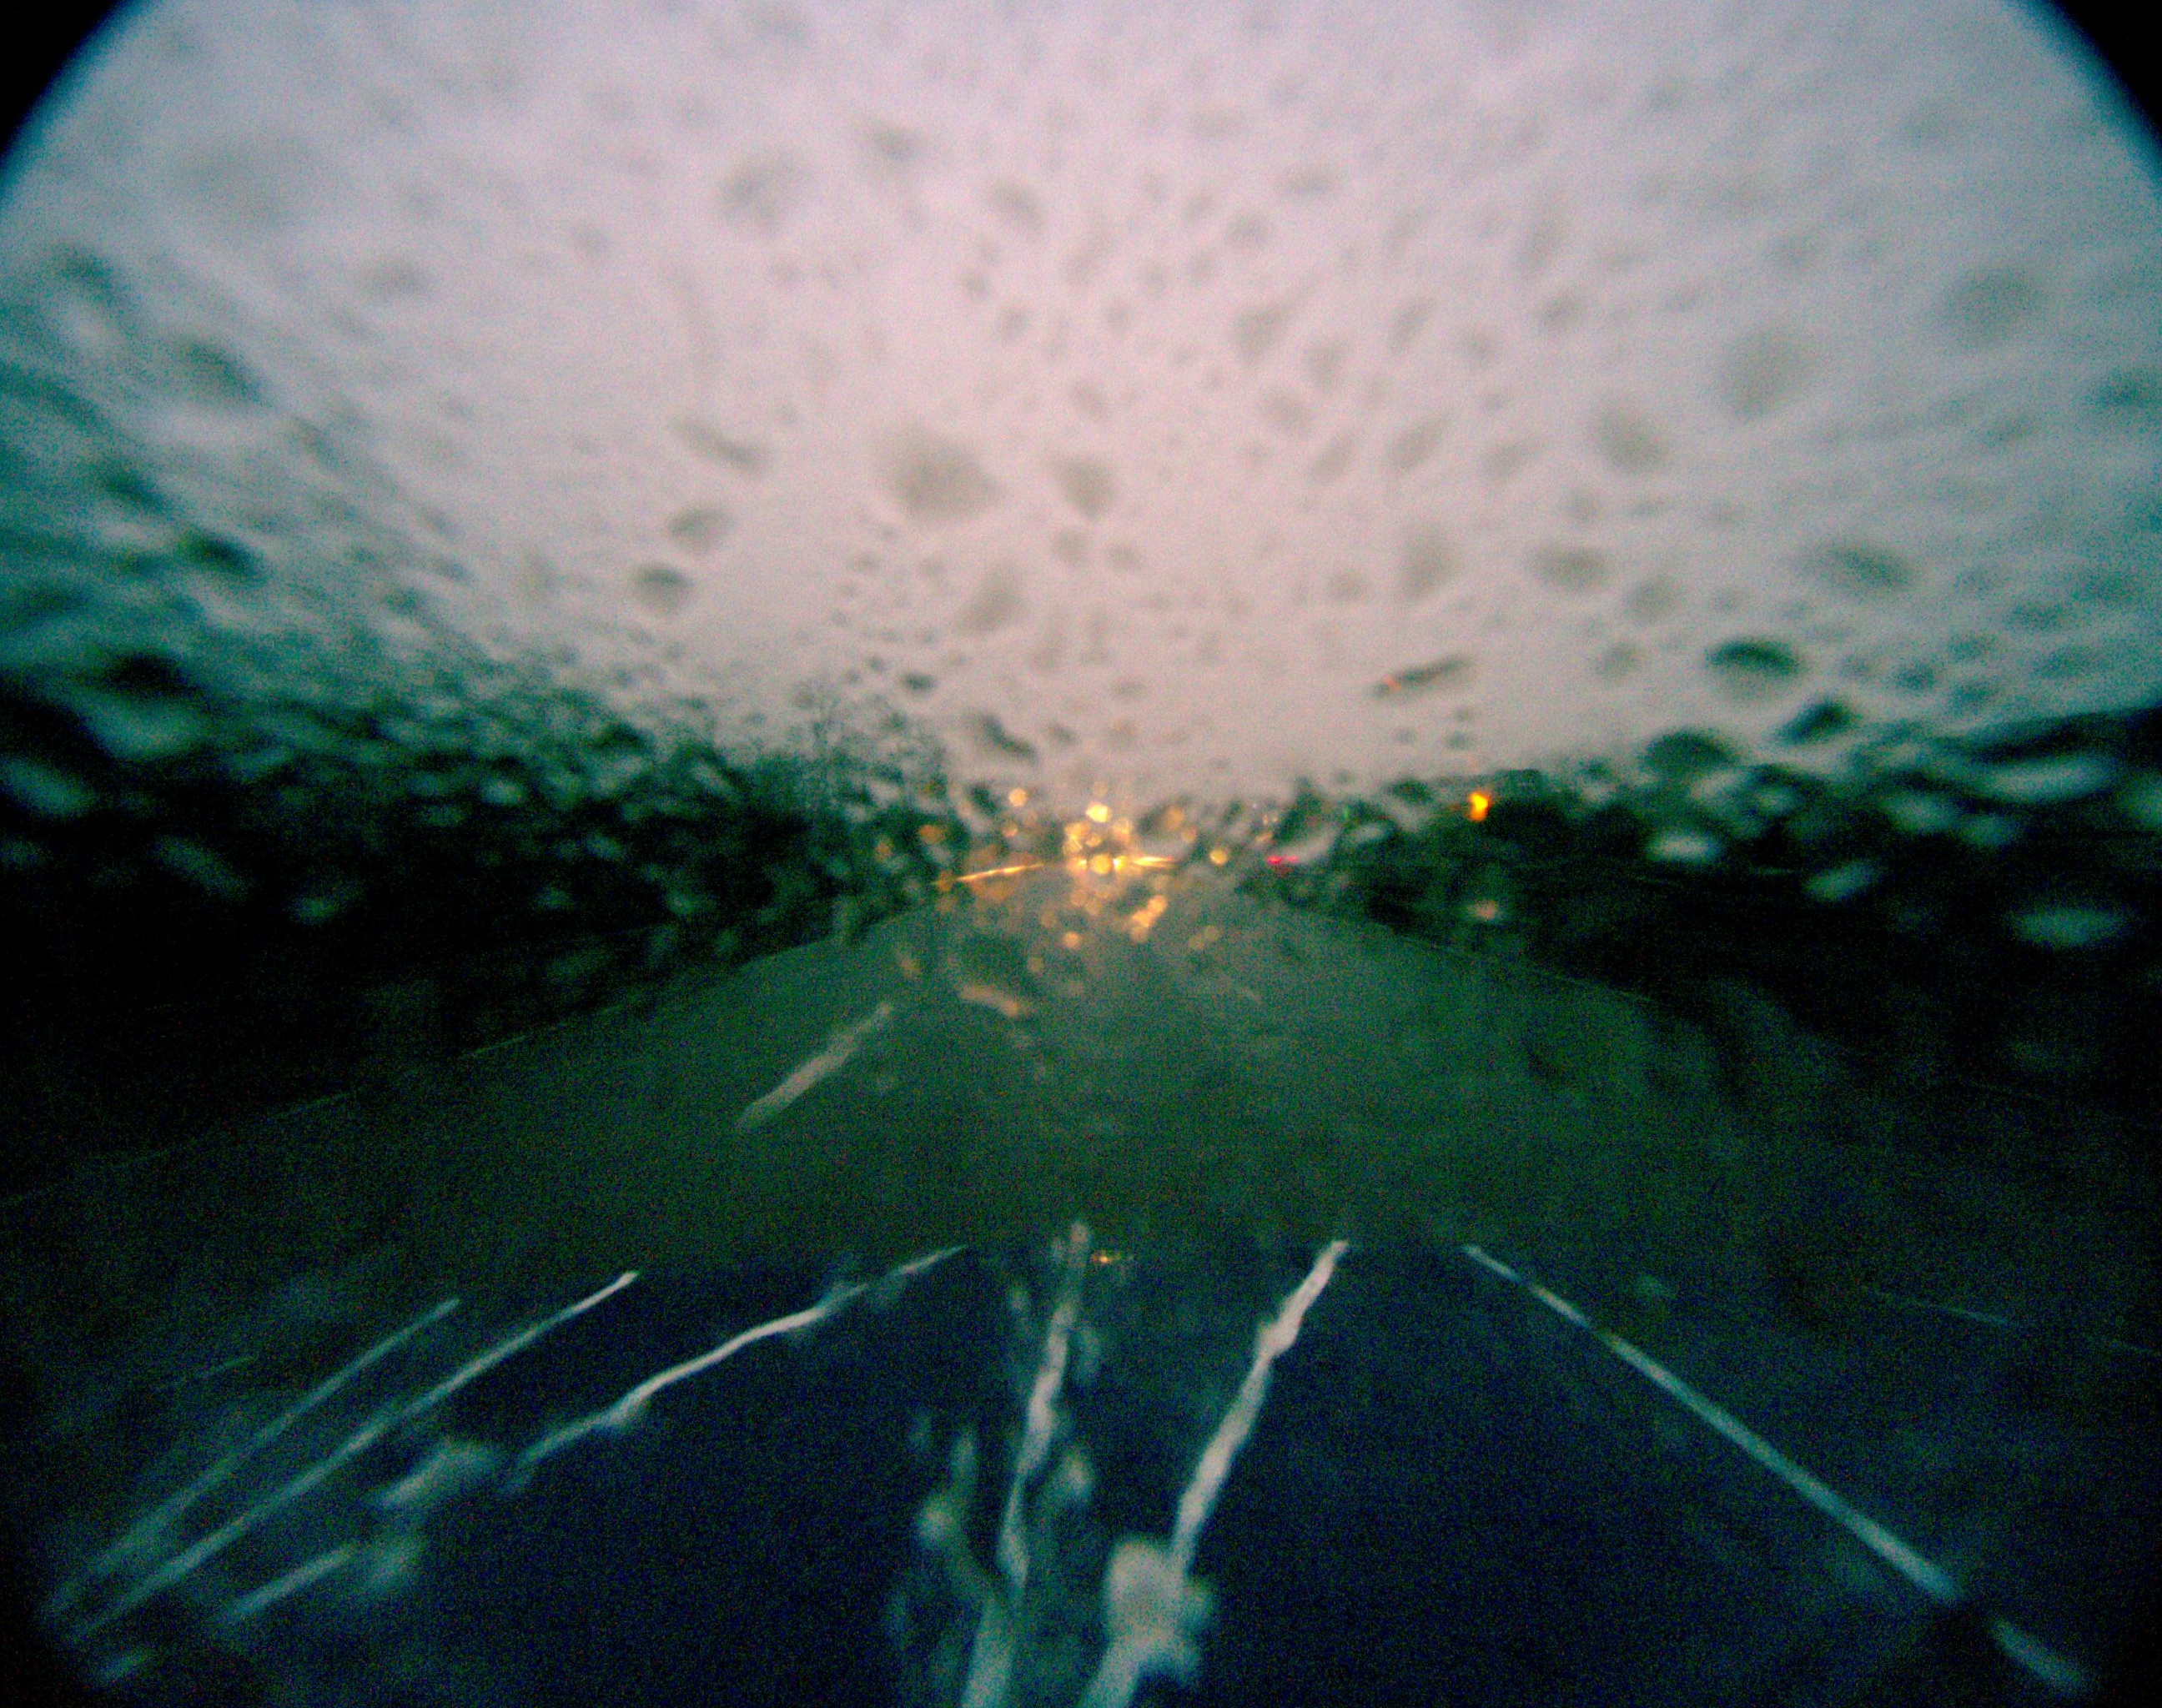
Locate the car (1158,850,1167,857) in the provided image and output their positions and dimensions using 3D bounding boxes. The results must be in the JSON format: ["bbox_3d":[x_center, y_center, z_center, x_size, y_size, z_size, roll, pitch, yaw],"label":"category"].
[{"bbox_3d":[17.420,-0.149,162.547,1.741,1.499,4.000,-3,1,2],"label":"car"}]

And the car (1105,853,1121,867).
[{"bbox_3d":[4.886,0.941,115.488,1.999,2.002,3.999,-4,0,-1],"label":"car"}]

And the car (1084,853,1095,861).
[{"bbox_3d":[1.540,0.486,131.424,1.682,1.401,3.775,-2,0,3],"label":"car"}]

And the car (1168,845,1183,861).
[{"bbox_3d":[15.683,-0.177,126.471,1.932,2.284,4.885,-3,4,2],"label":"car"}]

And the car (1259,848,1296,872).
[{"bbox_3d":[14.329,0.427,55.580,1.745,1.630,4.000,-1,0,1],"label":"car"}]

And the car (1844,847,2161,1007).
[{"bbox_3d":[12.096,0.750,9.184,1.745,1.630,4.000,-1,0,1],"label":"car"}]
